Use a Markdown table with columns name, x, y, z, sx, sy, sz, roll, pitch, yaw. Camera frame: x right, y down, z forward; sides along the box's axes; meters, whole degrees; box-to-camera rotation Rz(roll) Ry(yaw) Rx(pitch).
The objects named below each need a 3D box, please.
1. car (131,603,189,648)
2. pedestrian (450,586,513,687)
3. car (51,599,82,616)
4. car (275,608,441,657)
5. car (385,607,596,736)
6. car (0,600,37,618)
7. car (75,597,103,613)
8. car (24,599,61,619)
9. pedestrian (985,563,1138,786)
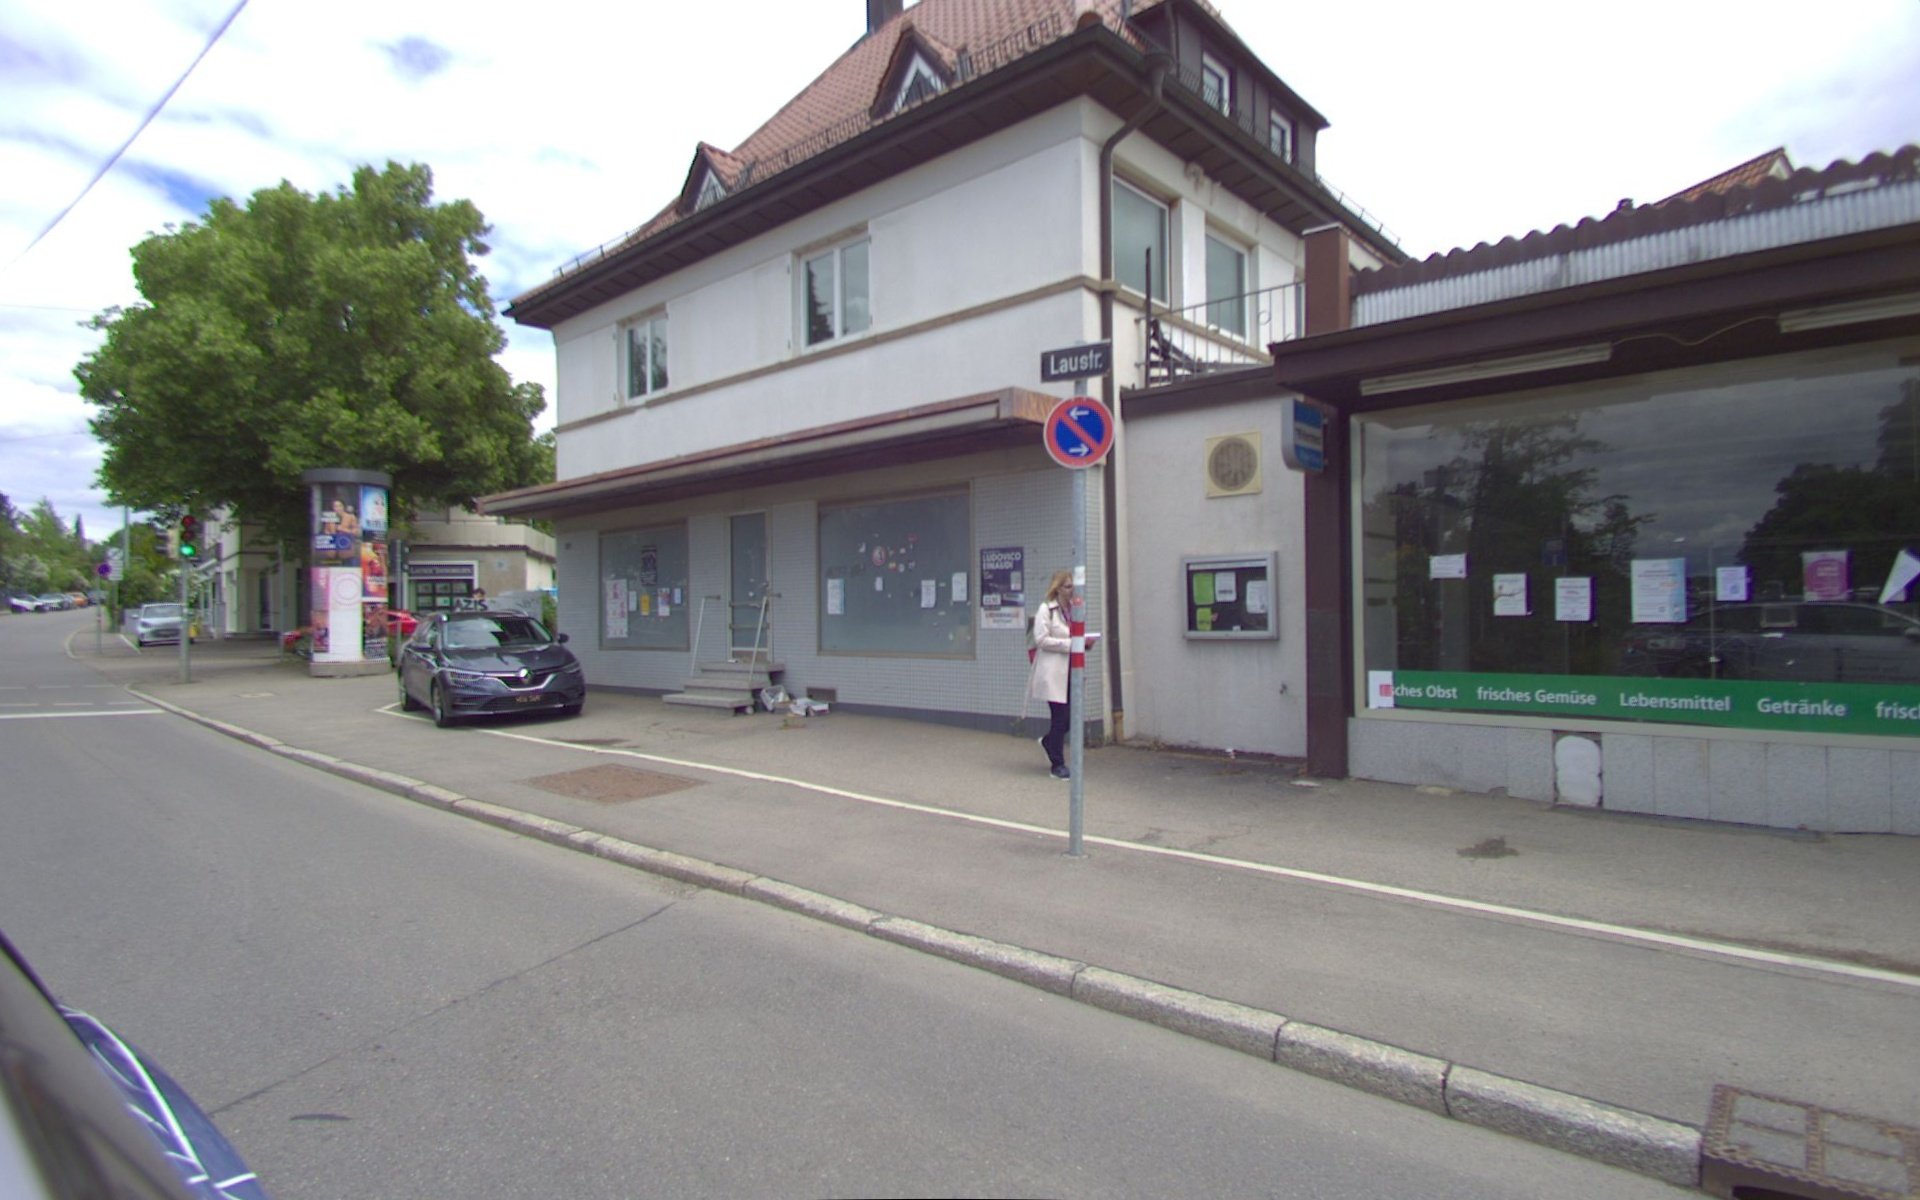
| name | x | y | z | sx | sy | sz | roll | pitch | yaw |
| --- | --- | --- | --- | --- | --- | --- | --- | --- | --- |
| car | -30.044 | 0.913 | 38.001 | 1.569 | 1.549 | 2.928 | -4 | 2 | -40 |
| pedestrian | -8.514 | 0.630 | 18.004 | 0.874 | 1.731 | 0.763 | -3 | 1 | -31 |
| car | -89.724 | 0.732 | 101.649 | 1.825 | 1.639 | 4.180 | -2 | 2 | -35 |
| car | -18.951 | 1.020 | 32.062 | 4.162 | 1.443 | 1.821 | -1 | -3 | -15 |
| car | -6.802 | 0.871 | 14.371 | 1.756 | 1.452 | 4.535 | -3 | 1 | -37 |
| car | -78.316 | 0.737 | 83.971 | 2.255 | 1.535 | 1.322 | 0 | 0 | -29 |
| car | -97.197 | 0.569 | 112.957 | 1.924 | 1.639 | 4.387 | -2 | 2 | -36 |
| car | -82.401 | 0.811 | 90.919 | 1.804 | 1.635 | 4.504 | -1 | 1 | -34 |
| pedestrian | 0.873 | 0.583 | 8.649 | 0.962 | 1.764 | 0.874 | -1 | 0 | 39 |
